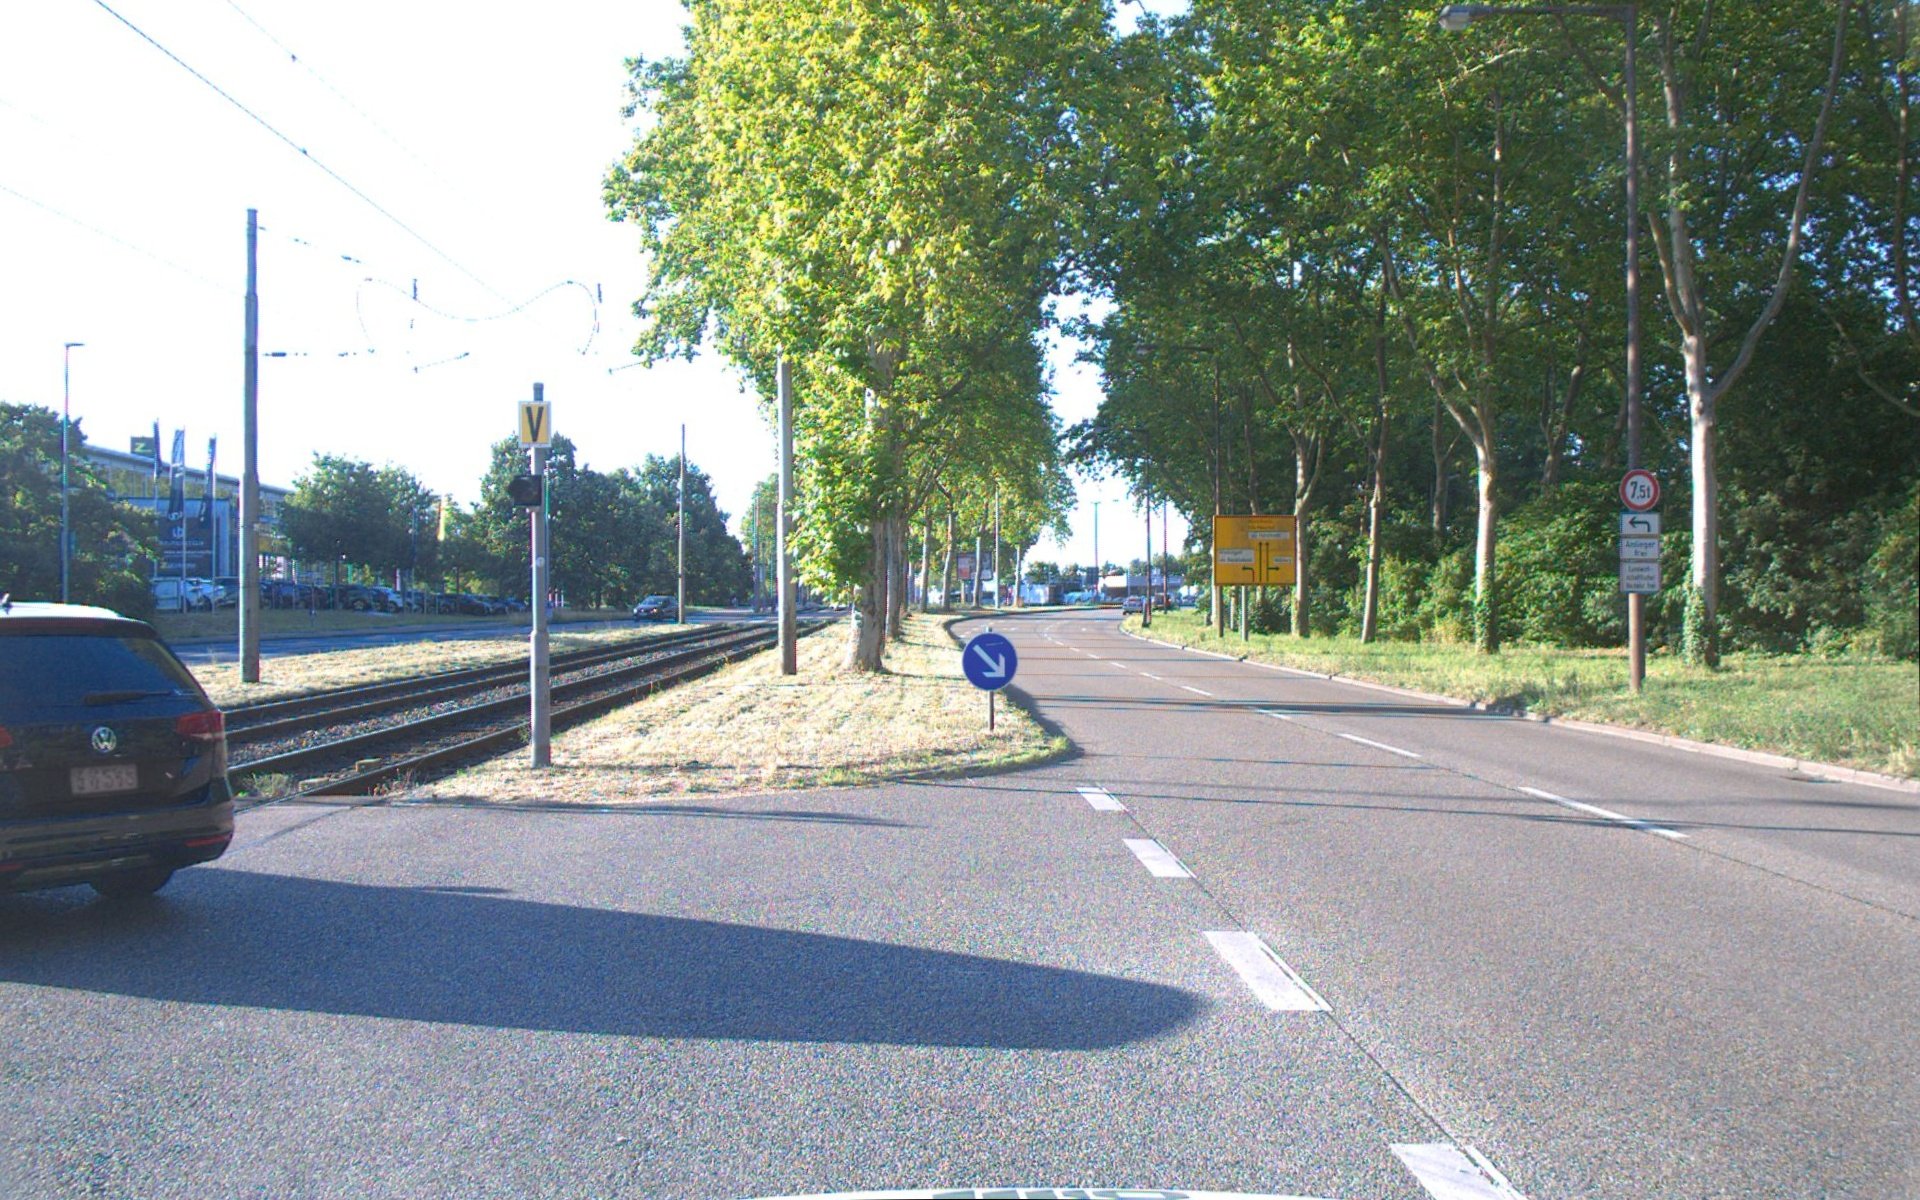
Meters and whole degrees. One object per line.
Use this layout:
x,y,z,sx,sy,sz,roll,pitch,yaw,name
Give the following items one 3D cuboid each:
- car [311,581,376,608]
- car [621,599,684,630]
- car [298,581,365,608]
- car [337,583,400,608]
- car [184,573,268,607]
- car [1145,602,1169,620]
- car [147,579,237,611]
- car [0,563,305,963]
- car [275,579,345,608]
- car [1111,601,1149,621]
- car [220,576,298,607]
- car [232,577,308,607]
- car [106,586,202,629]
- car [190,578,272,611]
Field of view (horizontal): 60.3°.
-38.426,-0.311,103.180,3.733,1.594,1.748,1,-1,-21,car
-17.765,0.838,95.567,1.771,1.713,4.000,0,0,21,car
-38.130,-0.334,100.385,3.733,1.594,1.748,1,-1,-21,car
-38.101,-0.275,106.561,3.733,1.594,1.748,1,-1,-21,car
-36.775,-0.483,82.940,3.733,1.594,1.748,1,-1,-21,car
16.221,0.904,136.371,1.951,1.465,4.003,1,0,7,car
-36.500,-0.227,78.677,3.733,1.413,1.748,1,-1,-21,car
-5.352,0.638,8.026,4.165,1.583,1.827,0,-1,29,car
-38.100,-0.366,96.995,3.733,1.594,1.748,1,-1,-21,car
13.003,0.827,126.120,1.952,1.467,4.000,0,0,20,car
-37.409,-0.439,88.315,3.733,1.594,1.748,1,-1,-21,car
-37.979,-0.420,91.109,3.733,1.594,1.748,1,-1,-21,car
-36.618,0.340,75.240,3.733,1.892,1.748,1,-1,-21,car
-37.458,-0.272,85.034,3.733,1.594,1.748,1,-1,-21,car
